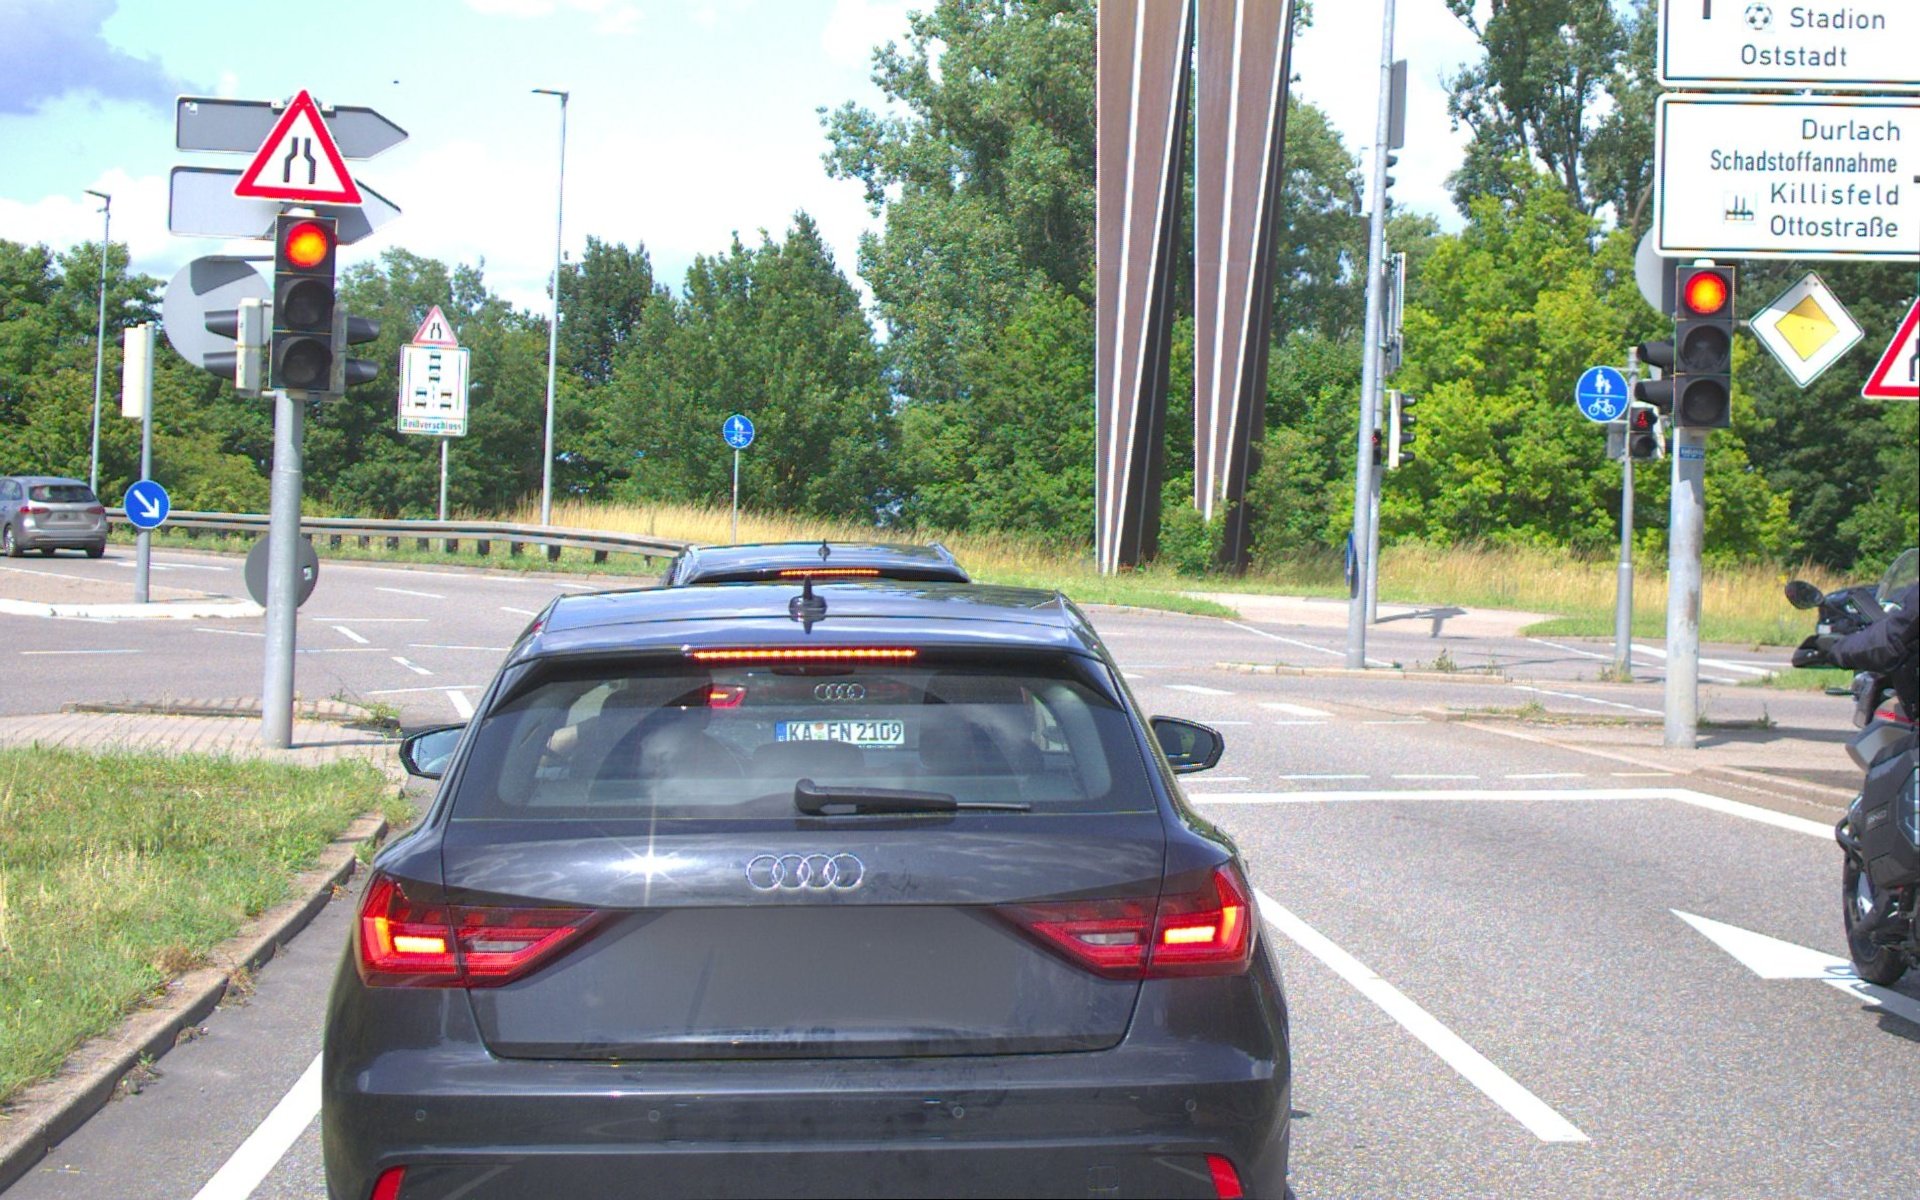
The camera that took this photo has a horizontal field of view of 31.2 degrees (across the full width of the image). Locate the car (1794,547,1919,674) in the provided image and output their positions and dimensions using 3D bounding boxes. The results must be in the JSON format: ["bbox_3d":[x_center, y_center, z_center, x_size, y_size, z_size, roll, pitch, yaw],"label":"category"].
[{"bbox_3d":[13.270,0.169,43.736,4.847,1.539,1.737,2,1,-1],"label":"car"}]

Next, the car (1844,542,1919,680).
[{"bbox_3d":[12.651,0.167,39.882,4.268,1.539,1.737,2,1,-1],"label":"car"}]

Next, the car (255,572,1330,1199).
[{"bbox_3d":[-0.291,0.671,7.540,1.726,1.399,4.000,0,1,-1],"label":"car"}]

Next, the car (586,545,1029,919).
[{"bbox_3d":[-0.747,0.481,15.340,1.726,1.418,3.845,0,1,-5],"label":"car"}]

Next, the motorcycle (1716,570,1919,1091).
[{"bbox_3d":[3.065,0.625,10.476,0.936,1.378,2.370,1,1,-1],"label":"motorcycle"}]

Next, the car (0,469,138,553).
[{"bbox_3d":[-17.442,-1.712,65.586,1.994,1.491,4.119,1,1,-36],"label":"car"}]

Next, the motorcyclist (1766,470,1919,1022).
[{"bbox_3d":[3.072,0.420,10.442,0.936,1.585,1.083,1,1,-1],"label":"motorcyclist"}]
